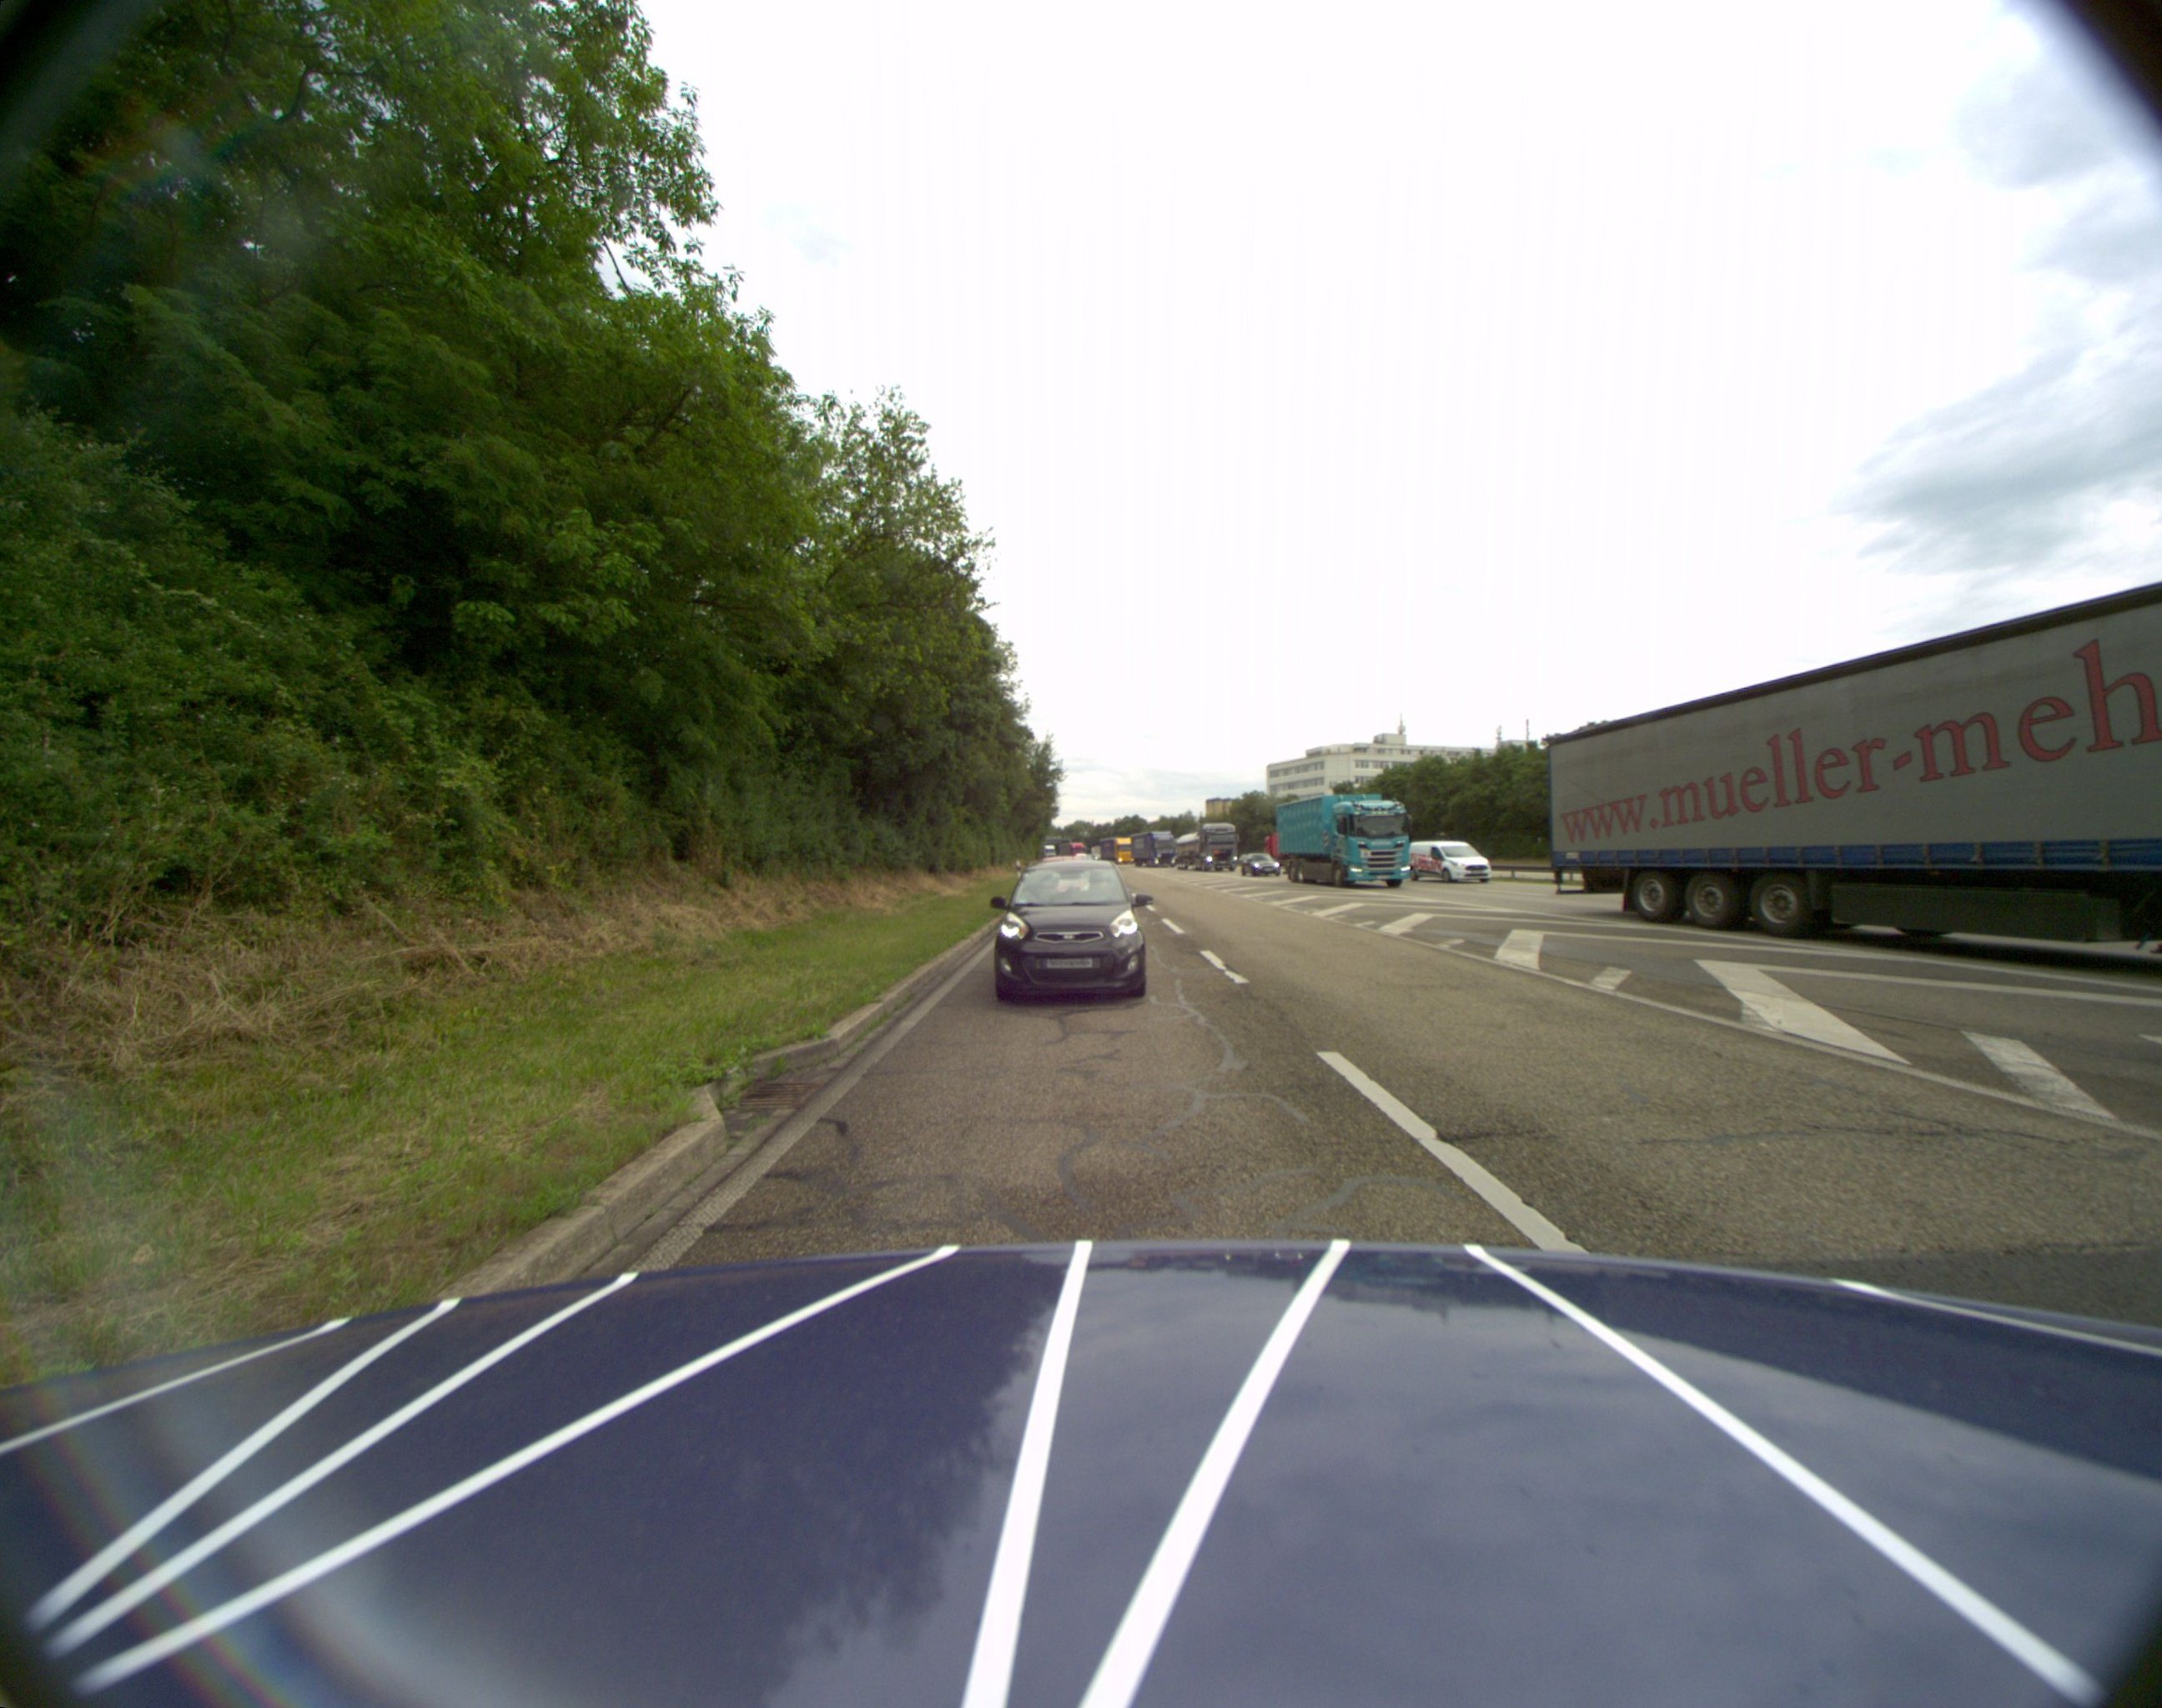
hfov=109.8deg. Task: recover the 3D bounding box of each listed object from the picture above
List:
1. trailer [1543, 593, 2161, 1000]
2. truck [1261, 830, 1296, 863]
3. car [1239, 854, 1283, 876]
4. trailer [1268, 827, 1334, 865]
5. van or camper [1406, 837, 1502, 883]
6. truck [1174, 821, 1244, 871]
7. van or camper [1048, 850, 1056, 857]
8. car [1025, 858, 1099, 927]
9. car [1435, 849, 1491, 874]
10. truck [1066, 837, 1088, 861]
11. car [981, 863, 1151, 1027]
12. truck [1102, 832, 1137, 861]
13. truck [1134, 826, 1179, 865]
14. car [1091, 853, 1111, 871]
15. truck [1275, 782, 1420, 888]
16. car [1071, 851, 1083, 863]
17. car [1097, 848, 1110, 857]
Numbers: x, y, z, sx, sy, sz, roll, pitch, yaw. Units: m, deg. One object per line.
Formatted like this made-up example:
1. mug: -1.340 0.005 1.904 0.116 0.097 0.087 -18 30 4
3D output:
1. trailer: 11.881 -0.589 10.482 2.680 3.951 13.919 -1 0 1
2. truck: 24.689 -0.888 95.155 2.771 4.041 4.905 -1 0 -4
3. car: 11.271 0.659 47.846 1.757 1.314 3.999 -1 0 -1
4. trailer: 25.256 -0.900 88.162 2.772 4.040 13.347 -1 0 -4
5. van or camper: 16.295 0.235 33.471 1.720 1.881 4.590 -1 0 -3
6. truck: 10.907 -0.659 66.376 3.328 3.902 13.142 -1 0 -2
7. van or camper: -7.673 -0.085 199.127 1.707 1.685 3.824 -1 0 -9
8. car: -0.436 0.863 18.693 1.631 1.492 3.563 -1 0 -1
9. car: 23.527 0.445 46.907 1.497 1.425 3.563 -1 0 -3
10. truck: -1.016 -1.098 166.954 2.848 5.070 14.110 -1 0 -8
11. car: -0.119 0.893 9.256 1.584 1.485 4.000 -1 0 1
12. truck: 5.941 -1.112 120.594 2.848 4.206 14.110 -1 0 -8
13. truck: 8.743 -0.964 89.898 2.814 4.206 14.000 -1 0 -4
14. car: 1.728 0.660 65.981 1.602 1.543 3.302 -1 0 -1
15. truck: 11.446 -0.727 33.977 2.700 3.977 10.123 -1 0 -1
16. car: -0.558 0.410 109.182 1.613 1.657 3.146 -1 0 1
17. car: 4.127 -0.300 141.112 1.700 1.704 3.864 -1 0 -9
